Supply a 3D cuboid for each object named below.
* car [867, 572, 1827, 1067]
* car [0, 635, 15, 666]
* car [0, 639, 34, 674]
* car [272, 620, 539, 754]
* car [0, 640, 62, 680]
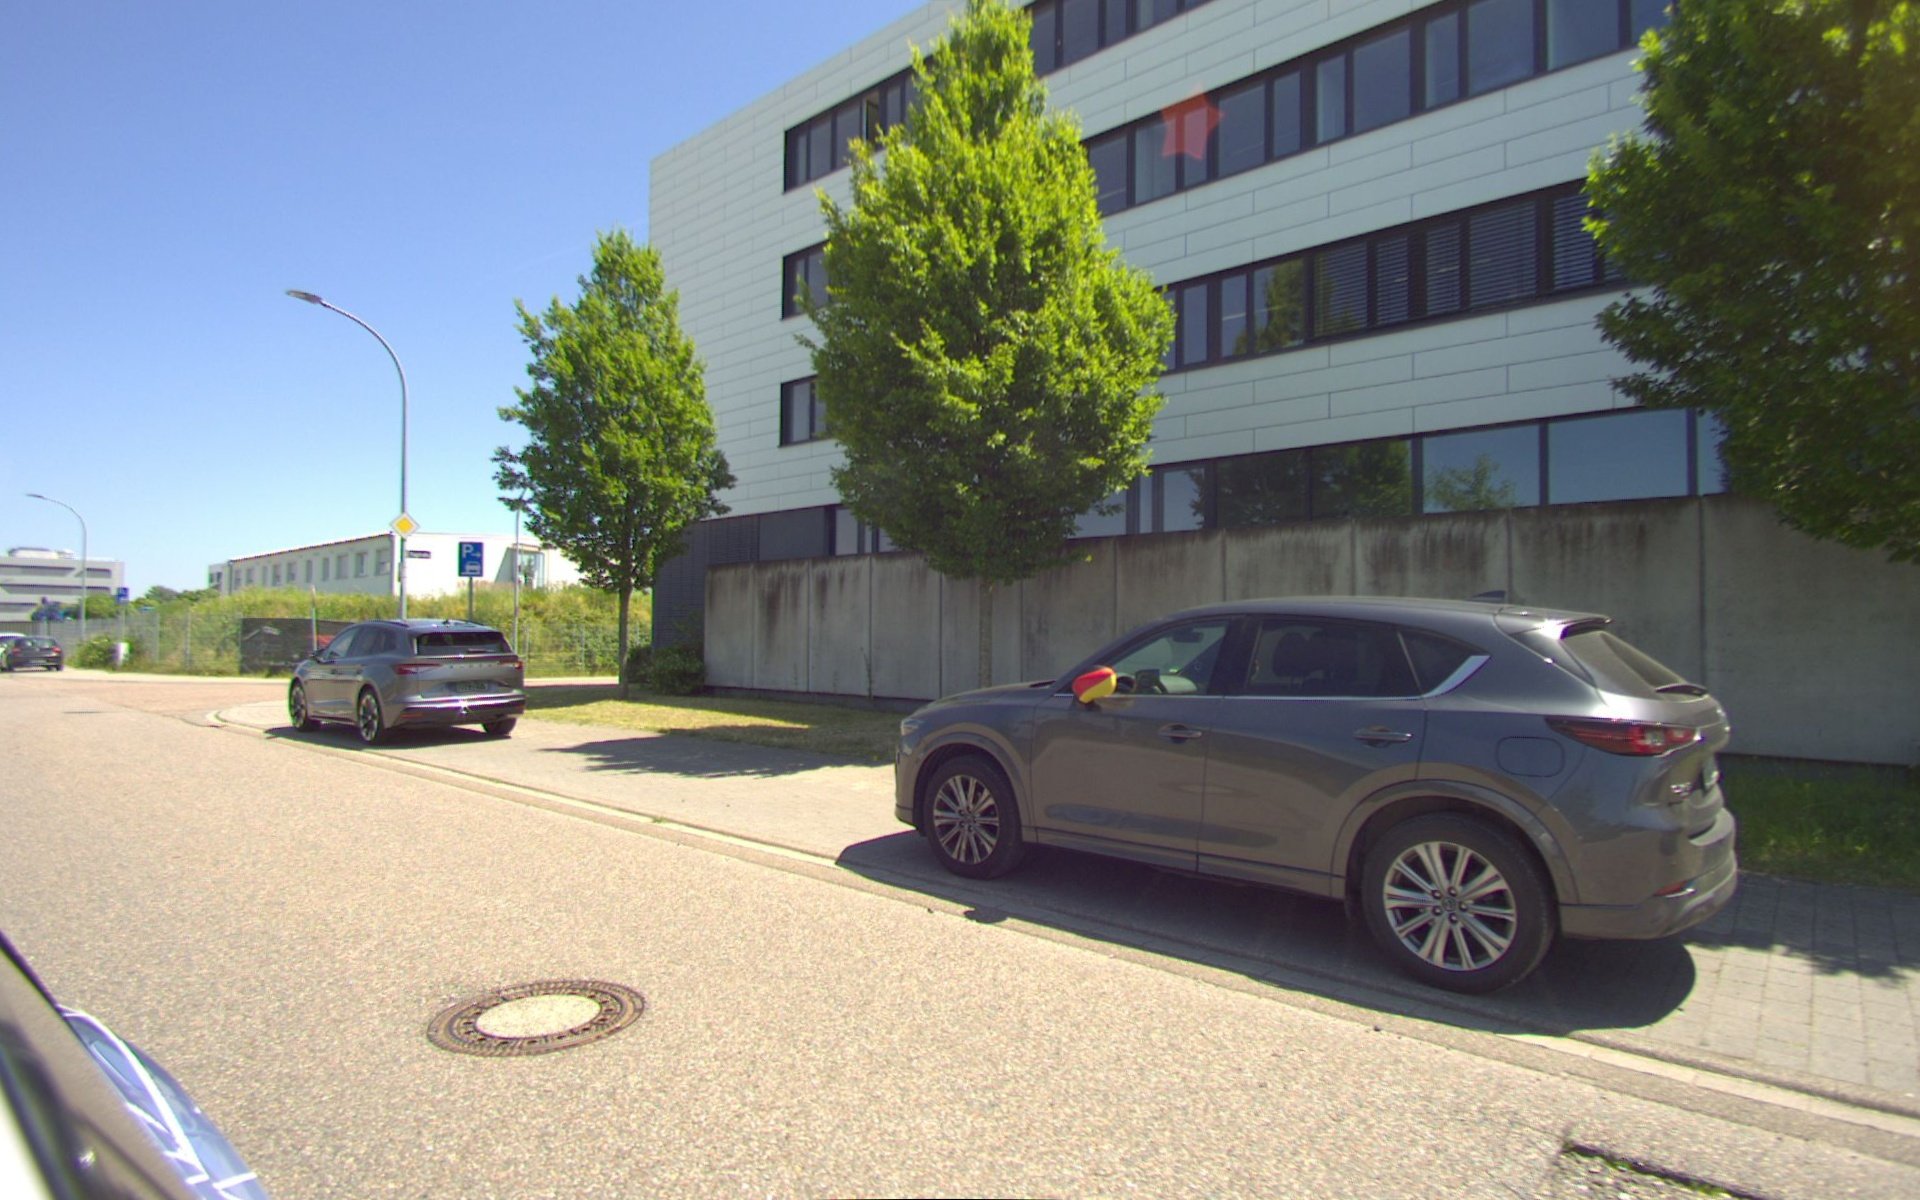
[{"bbox_3d":[1.703,0.771,5.540,4.580,1.636,1.752,-2,-1,42],"label":"car"},{"bbox_3d":[-49.014,2.524,51.012,3.908,1.542,1.656,-2,-2,42],"label":"car"},{"bbox_3d":[-44.207,2.605,46.754,3.756,1.542,1.656,-2,-4,42],"label":"car"},{"bbox_3d":[-7.862,1.126,14.168,4.477,1.600,1.753,-2,-3,40],"label":"car"},{"bbox_3d":[-37.341,2.377,40.440,4.067,1.462,1.656,-1,-4,42],"label":"car"}]
